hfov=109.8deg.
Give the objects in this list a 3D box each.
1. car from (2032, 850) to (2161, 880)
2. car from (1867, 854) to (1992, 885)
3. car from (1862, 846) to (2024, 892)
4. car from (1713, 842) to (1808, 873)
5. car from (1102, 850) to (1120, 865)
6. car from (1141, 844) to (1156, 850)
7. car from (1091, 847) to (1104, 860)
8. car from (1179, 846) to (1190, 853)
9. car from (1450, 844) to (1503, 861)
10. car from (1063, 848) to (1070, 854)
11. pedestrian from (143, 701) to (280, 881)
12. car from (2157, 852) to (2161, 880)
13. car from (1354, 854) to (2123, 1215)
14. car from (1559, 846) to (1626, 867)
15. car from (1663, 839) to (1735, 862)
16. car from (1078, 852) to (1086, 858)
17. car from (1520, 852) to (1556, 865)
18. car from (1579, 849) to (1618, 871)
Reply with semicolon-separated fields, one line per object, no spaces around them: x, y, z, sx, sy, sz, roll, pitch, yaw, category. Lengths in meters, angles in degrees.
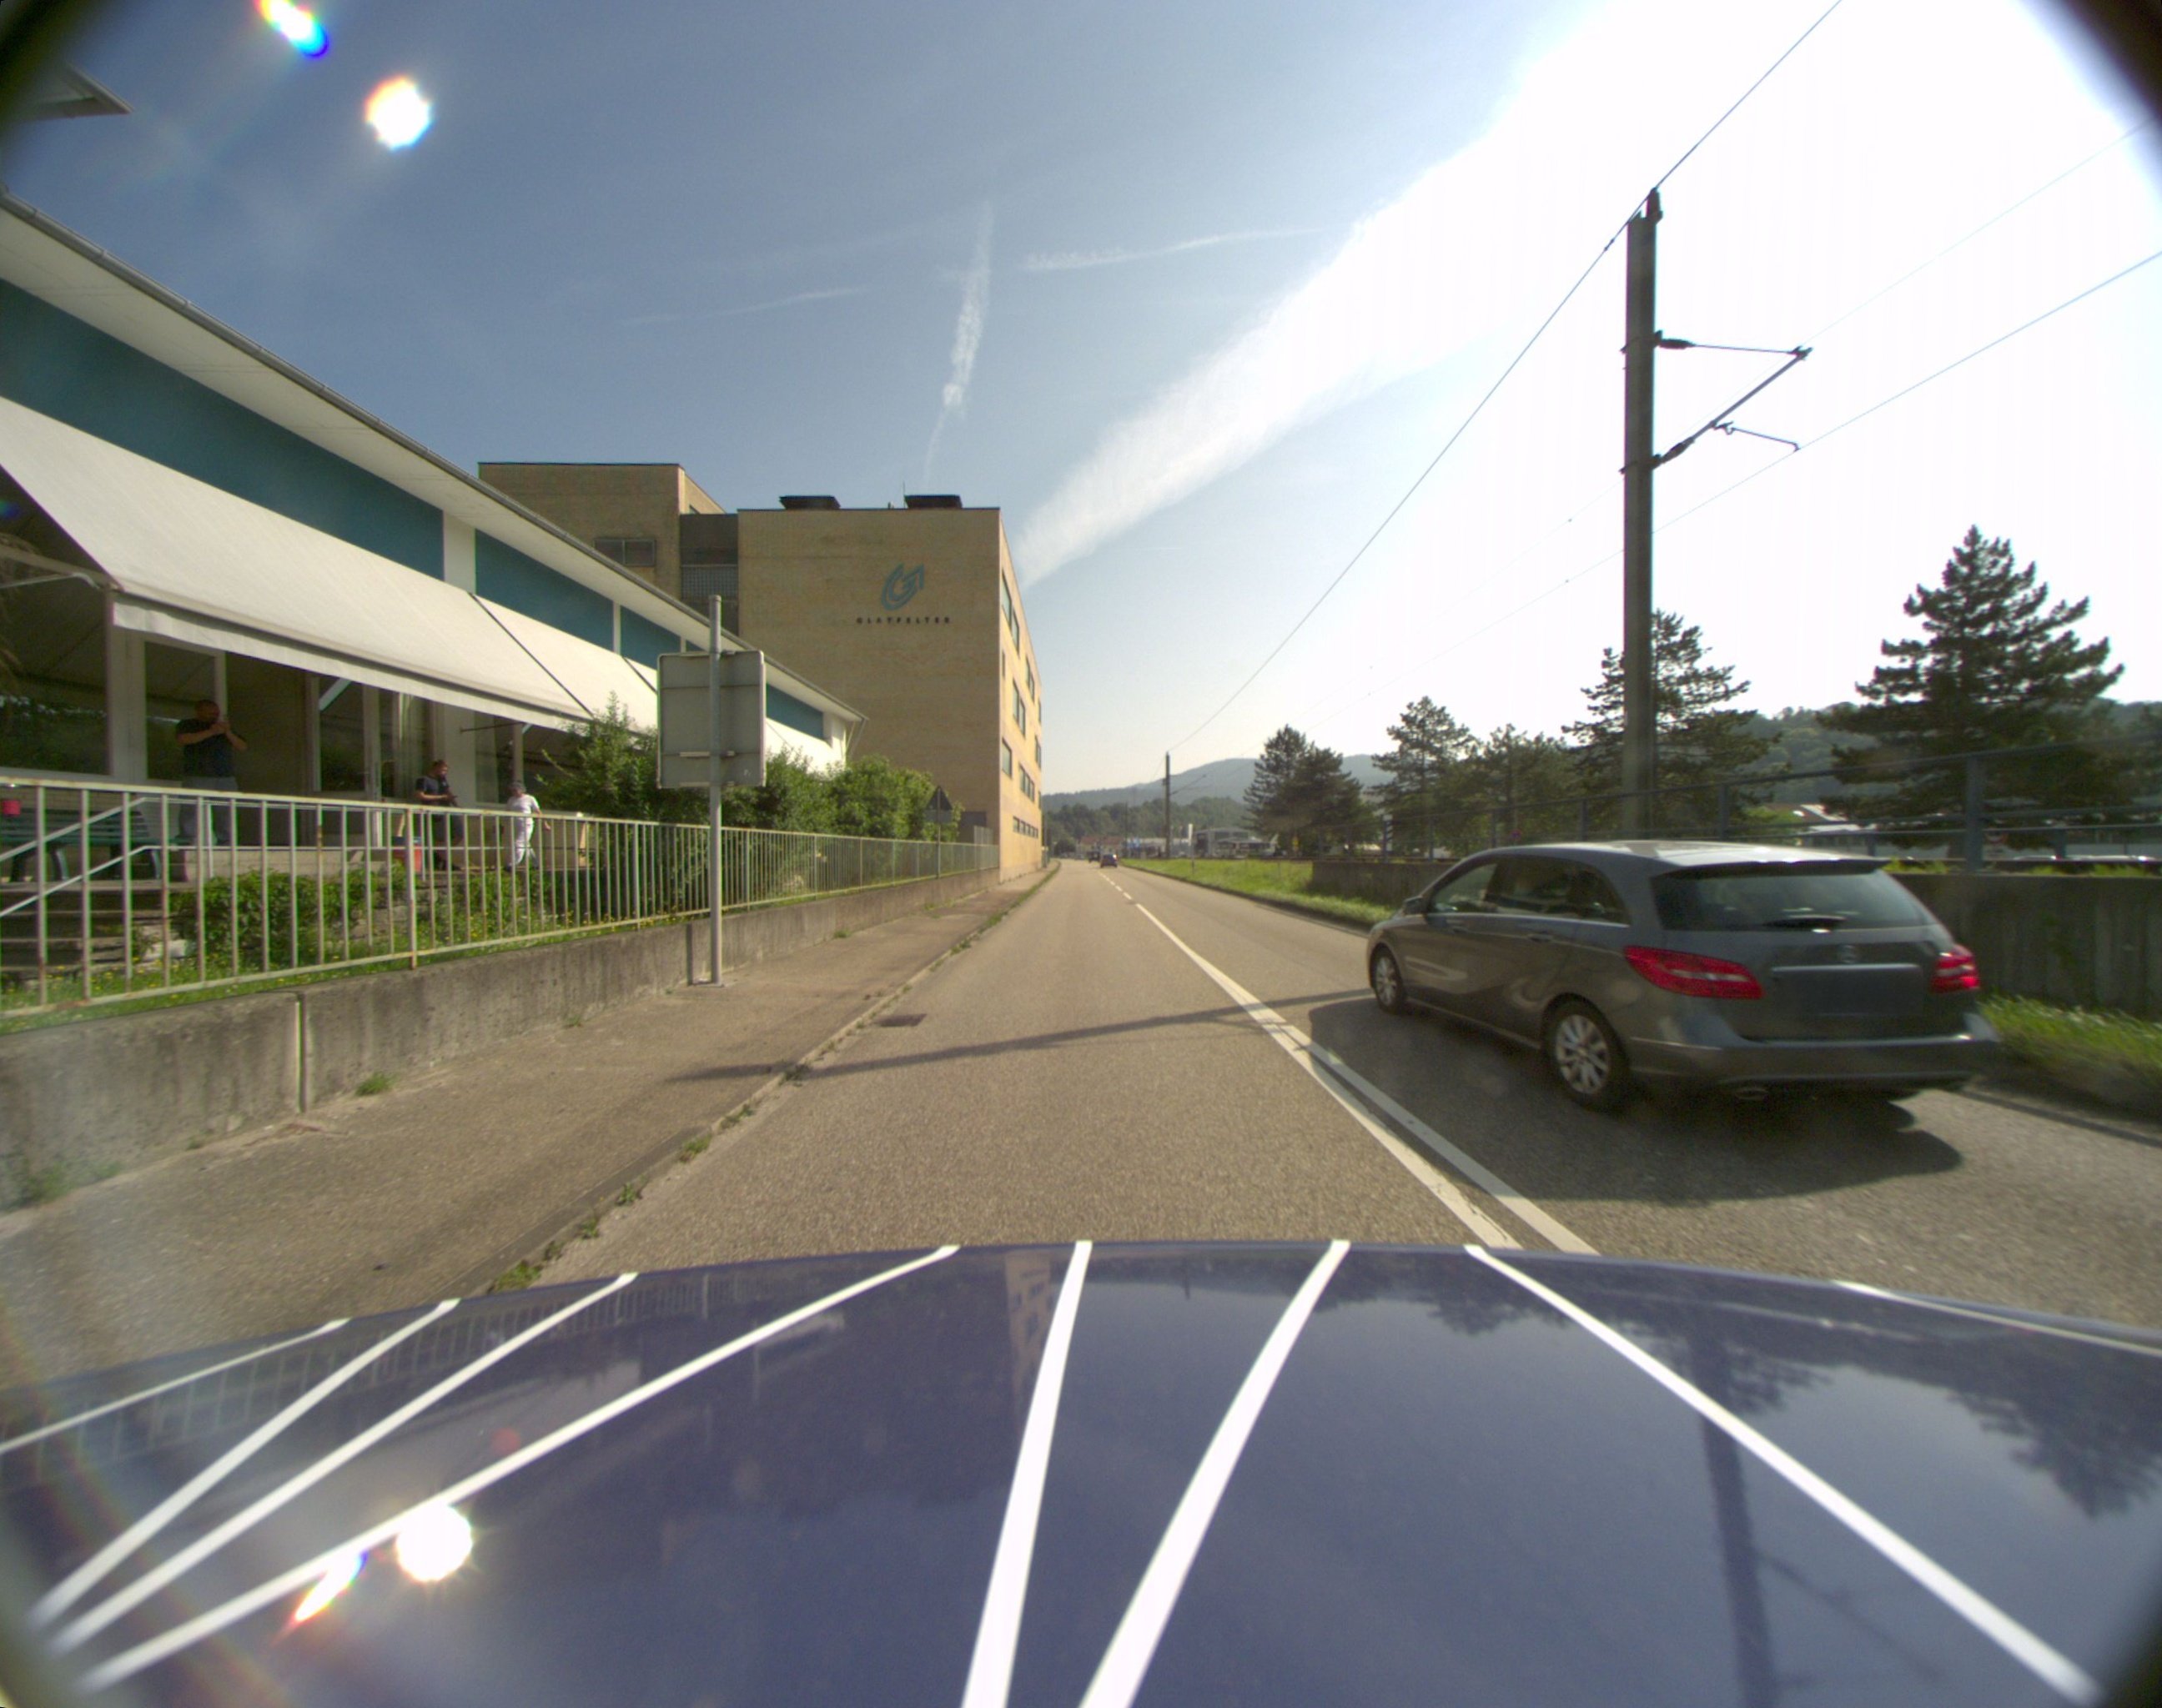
46.385;0.469;34.601;3.526;1.317;1.460;1;1;33;car
38.605;0.678;34.673;3.526;1.317;1.460;1;1;32;car
34.604;0.574;30.700;3.988;1.710;2.004;0;1;36;car
39.791;0.188;44.640;3.988;1.710;2.004;0;1;36;car
3.193;0.396;82.047;1.735;1.517;4.091;-1;1;0;car
19.859;-2.095;223.648;3.968;1.519;1.662;-3;1;-7;car
2.659;-0.108;123.186;1.763;2.066;4.806;-2;1;-3;car
25.621;-1.055;188.426;1.523;1.679;4.367;-2;1;-8;car
35.494;-0.139;68.226;1.691;1.435;3.841;-1;1;-44;car
-4.531;-0.911;236.259;1.913;1.591;4.566;-1;1;-8;car
-10.095;-0.709;8.852;0.736;2.002;0.681;-1;1;1;pedestrian
52.477;0.600;34.710;3.526;1.317;1.460;1;1;33;car
3.613;0.778;5.390;1.746;1.498;4.198;-1;1;-1;car
37.815;0.147;56.254;1.691;1.498;3.841;-1;1;-44;car
47.438;-0.252;58.369;2.004;1.710;3.989;-1;1;-41;car
0.148;0.155;175.121;1.772;1.397;4.295;0;1;-2;car
58.687;0.552;97.636;1.684;1.539;3.996;0;1;-10;car
33.171;0.355;48.687;1.515;1.350;3.528;1;1;44;car
